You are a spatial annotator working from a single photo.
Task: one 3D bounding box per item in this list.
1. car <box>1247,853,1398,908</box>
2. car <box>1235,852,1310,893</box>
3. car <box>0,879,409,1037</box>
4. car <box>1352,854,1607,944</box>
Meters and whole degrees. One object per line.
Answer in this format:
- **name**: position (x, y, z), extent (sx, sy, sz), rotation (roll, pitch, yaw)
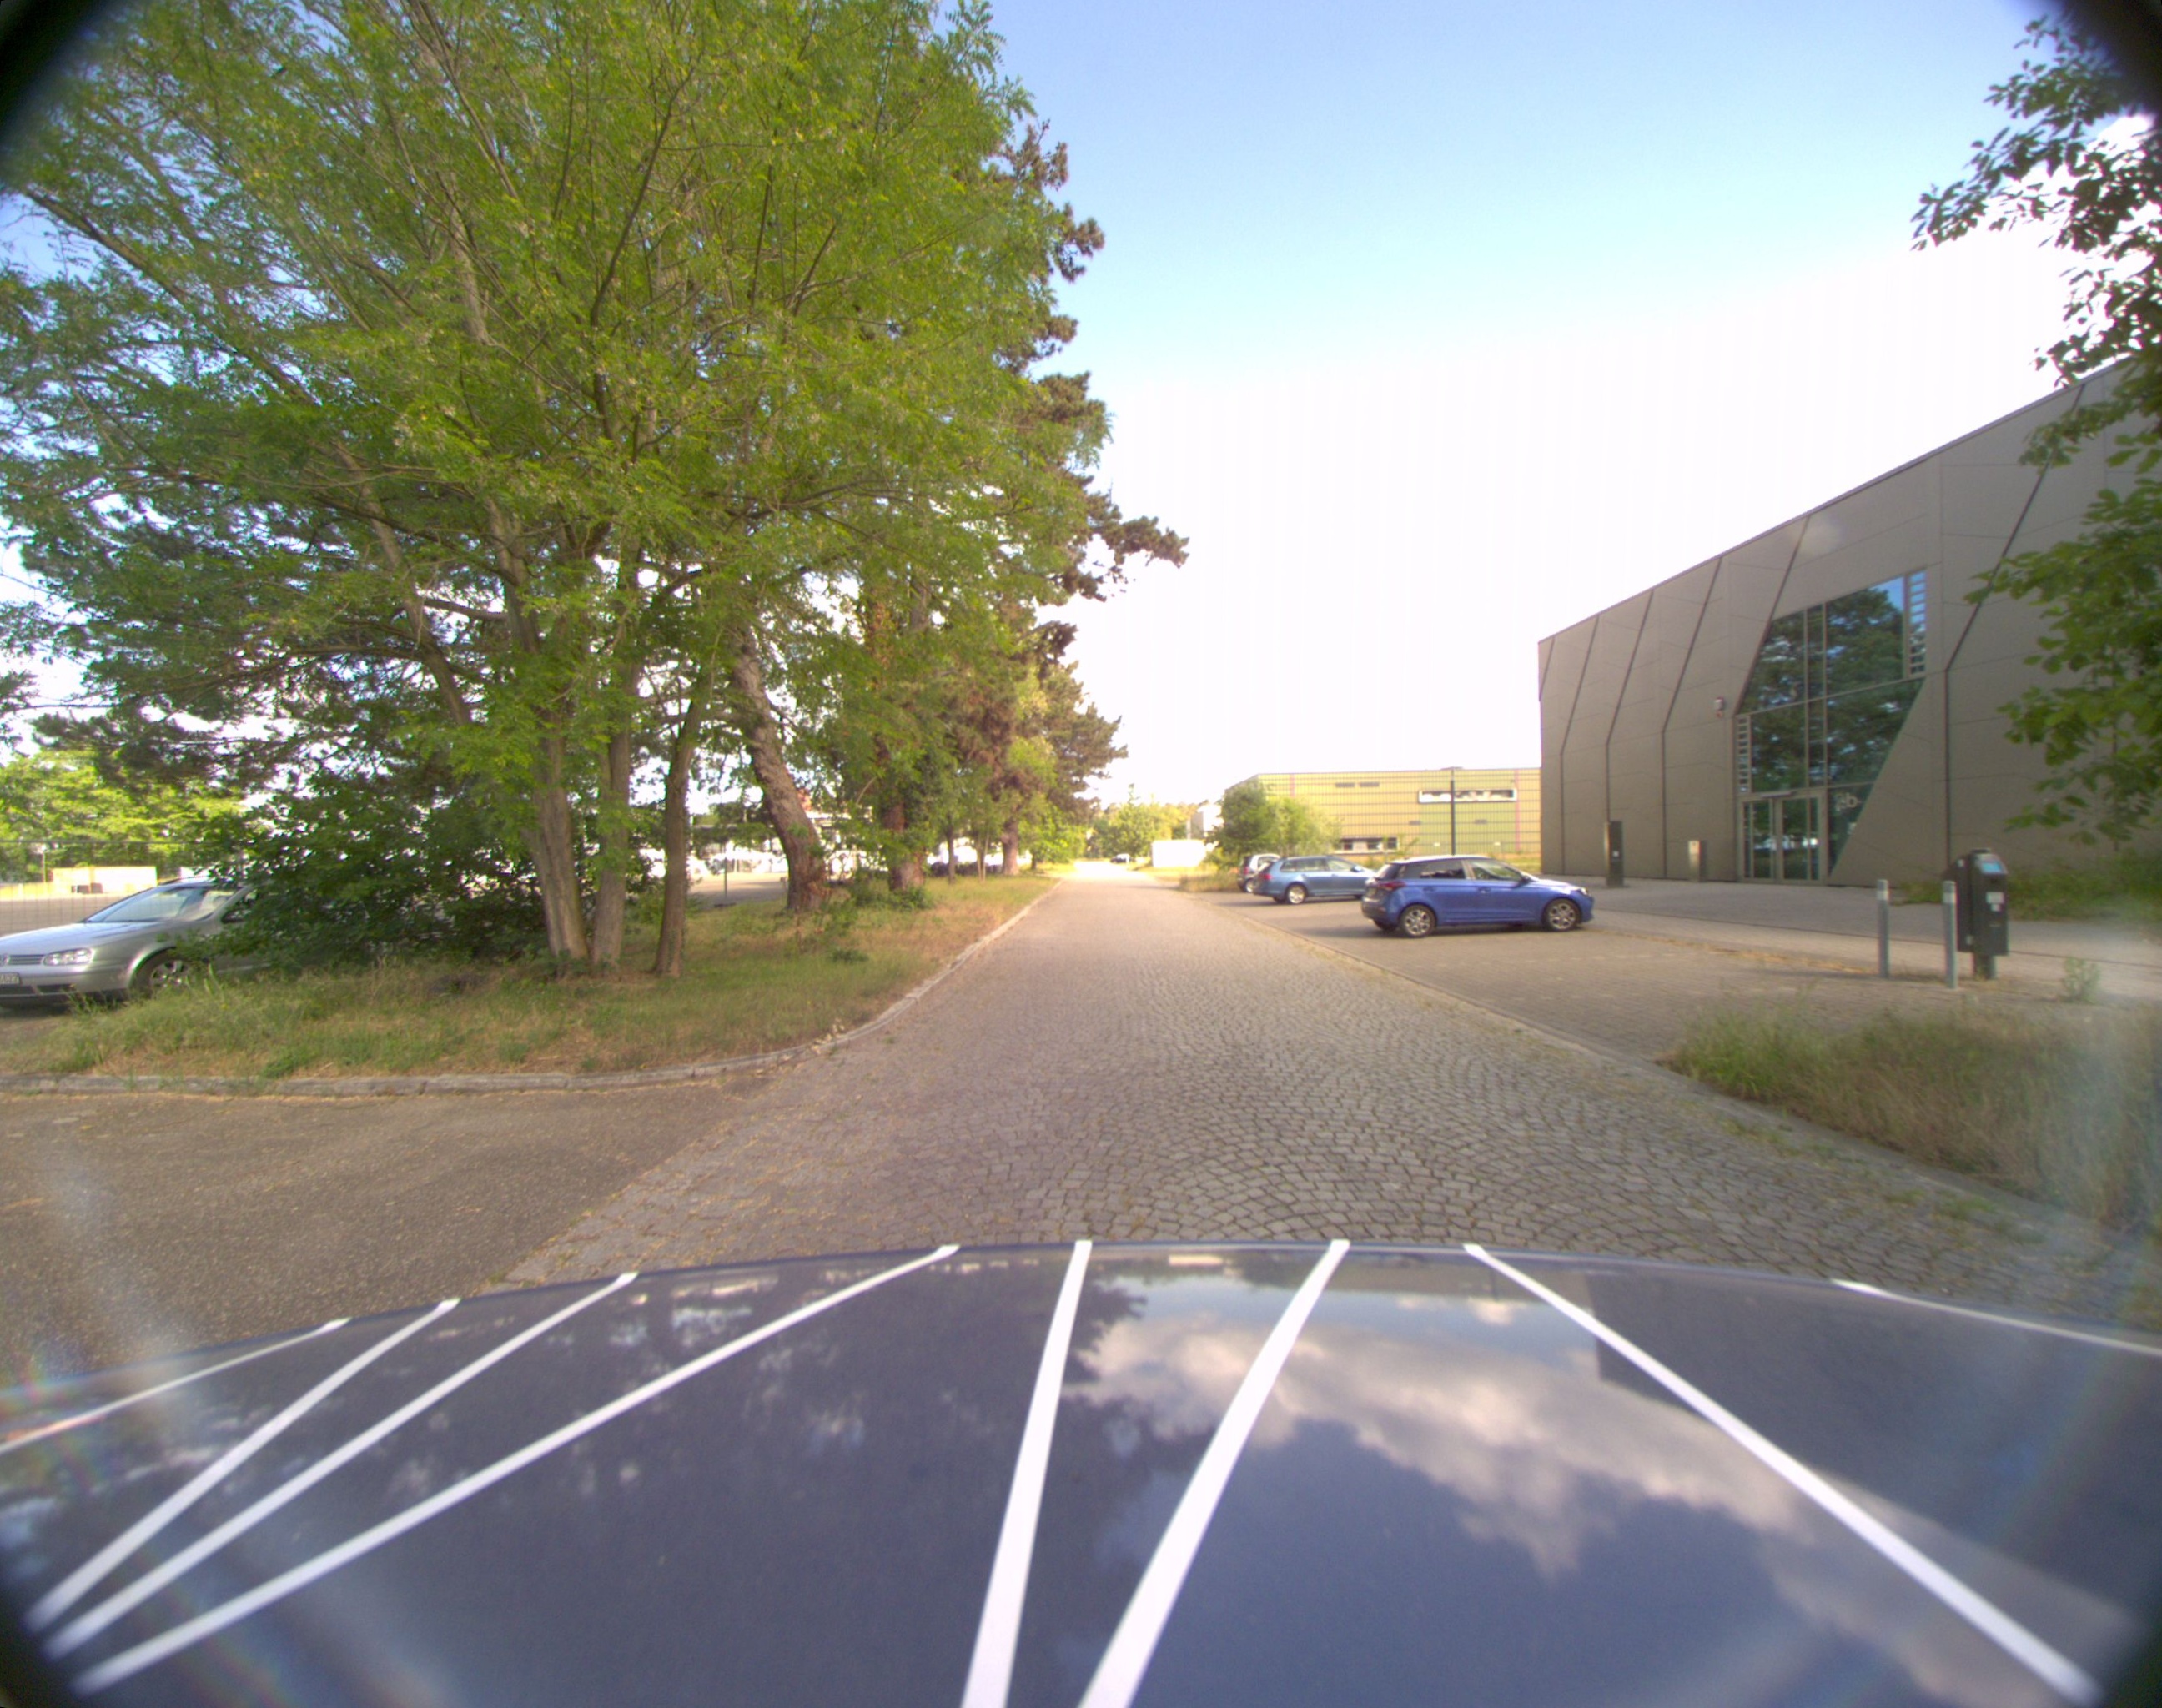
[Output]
- **car**: position (7.548, 0.808, 23.988), extent (4.179, 1.465, 1.734), rotation (-3, 0, -1)
- **car**: position (7.864, 0.745, 31.373), extent (2.652, 1.559, 1.481), rotation (-3, 0, 0)
- **car**: position (-11.084, 1.128, 9.675), extent (1.578, 1.435, 3.985), rotation (-1, 0, -2)
- **car**: position (7.454, 0.820, 14.533), extent (3.917, 1.459, 1.735), rotation (-3, 0, 3)
